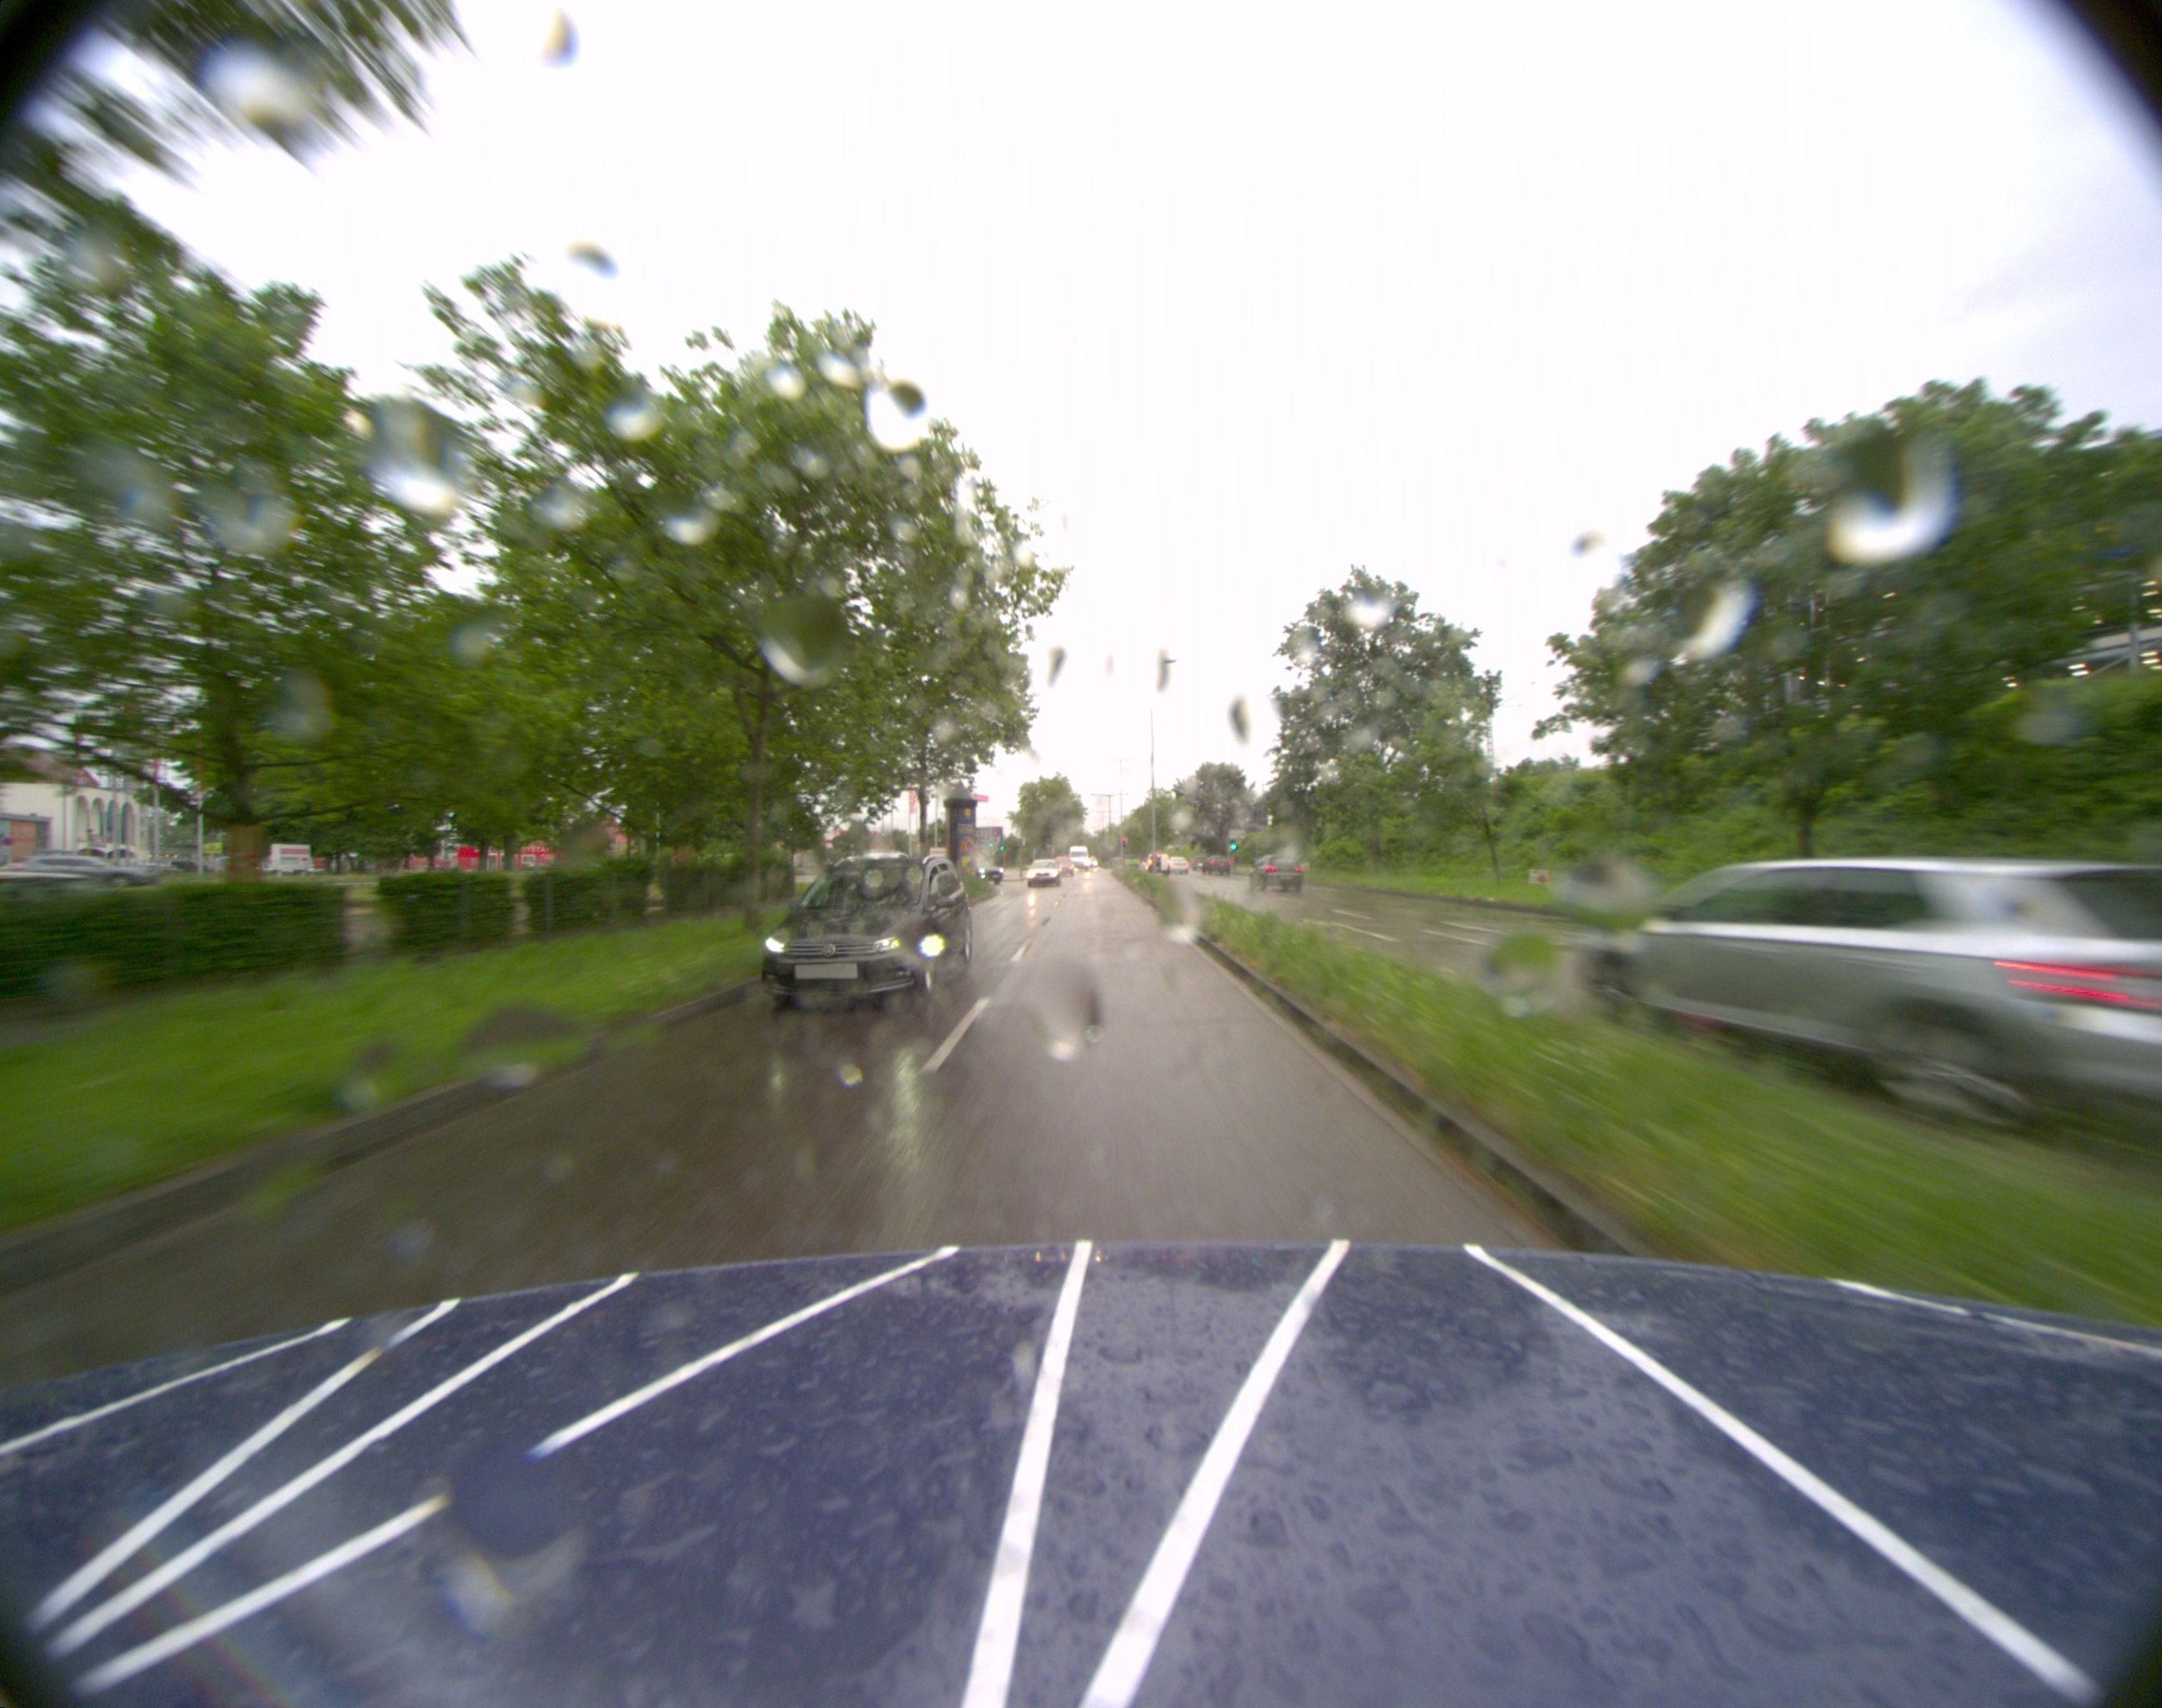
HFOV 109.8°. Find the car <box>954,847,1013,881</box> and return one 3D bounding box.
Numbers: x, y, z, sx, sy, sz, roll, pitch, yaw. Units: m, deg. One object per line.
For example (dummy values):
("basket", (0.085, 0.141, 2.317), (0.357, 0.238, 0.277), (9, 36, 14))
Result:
("car", (-6.268, 0.612, 48.443), (1.936, 2.044, 4.744), (0, 0, -31))

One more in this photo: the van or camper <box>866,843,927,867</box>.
("van or camper", (-16.340, 0.116, 67.428), (4.918, 2.076, 1.863), (0, 0, -37))

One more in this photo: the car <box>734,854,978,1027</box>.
("car", (-2.586, 0.891, 9.877), (1.861, 1.716, 4.190), (-2, 0, 0))

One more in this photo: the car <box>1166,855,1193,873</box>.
("car", (9.047, 0.886, 70.182), (1.903, 1.603, 4.711), (2, 0, 0))

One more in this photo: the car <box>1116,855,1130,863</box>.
("car", (7.915, 0.938, 144.109), (1.977, 1.592, 4.386), (0, 0, -5))

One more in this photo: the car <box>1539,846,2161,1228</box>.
("car", (5.417, 0.799, 5.196), (1.904, 1.603, 4.110), (2, 0, -3))

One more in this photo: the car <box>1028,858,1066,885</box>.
("car", (-1.842, 0.934, 42.792), (1.807, 1.422, 4.387), (-1, 0, 1))

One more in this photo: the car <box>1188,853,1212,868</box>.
("car", (12.799, 0.649, 81.790), (1.903, 1.603, 4.405), (0, 0, 0))

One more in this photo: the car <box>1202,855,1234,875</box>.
("car", (12.232, 0.955, 68.228), (2.042, 1.650, 4.678), (0, 0, 0))

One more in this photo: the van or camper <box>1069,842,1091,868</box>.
("van or camper", (-0.029, 0.115, 80.945), (2.100, 2.579, 4.776), (-2, 0, 2))

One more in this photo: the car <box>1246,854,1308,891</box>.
("car", (9.047, 0.812, 35.420), (1.903, 1.603, 4.112), (2, 0, 2))

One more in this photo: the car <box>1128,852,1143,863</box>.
("car", (7.443, 0.478, 104.221), (1.780, 1.552, 3.774), (-2, 0, 1))

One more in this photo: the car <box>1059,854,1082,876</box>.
("car", (-0.869, 0.875, 63.468), (1.699, 1.759, 4.558), (-1, 0, 2))

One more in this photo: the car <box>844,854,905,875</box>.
("car", (-17.086, 0.876, 62.943), (4.470, 1.663, 1.863), (0, 0, -37))

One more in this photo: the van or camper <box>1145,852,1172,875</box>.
("van or camper", (6.207, 0.737, 61.217), (1.733, 1.732, 4.000), (2, 0, 0))

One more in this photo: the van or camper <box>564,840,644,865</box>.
("van or camper", (-64.927, -0.272, 103.494), (8.995, 3.139, 2.979), (-2, 2, -35))

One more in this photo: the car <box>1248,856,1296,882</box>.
("car", (12.076, 0.904, 48.326), (1.903, 1.603, 4.477), (0, 0, 0))

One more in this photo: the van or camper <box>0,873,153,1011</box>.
("van or camper", (-17.205, 1.314, 11.455), (3.998, 1.895, 1.801), (-2, 0, -3))

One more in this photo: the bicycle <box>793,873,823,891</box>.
("bicycle", (-17.020, 1.738, 47.318), (1.621, 1.032, 0.814), (0, 0, 21))
